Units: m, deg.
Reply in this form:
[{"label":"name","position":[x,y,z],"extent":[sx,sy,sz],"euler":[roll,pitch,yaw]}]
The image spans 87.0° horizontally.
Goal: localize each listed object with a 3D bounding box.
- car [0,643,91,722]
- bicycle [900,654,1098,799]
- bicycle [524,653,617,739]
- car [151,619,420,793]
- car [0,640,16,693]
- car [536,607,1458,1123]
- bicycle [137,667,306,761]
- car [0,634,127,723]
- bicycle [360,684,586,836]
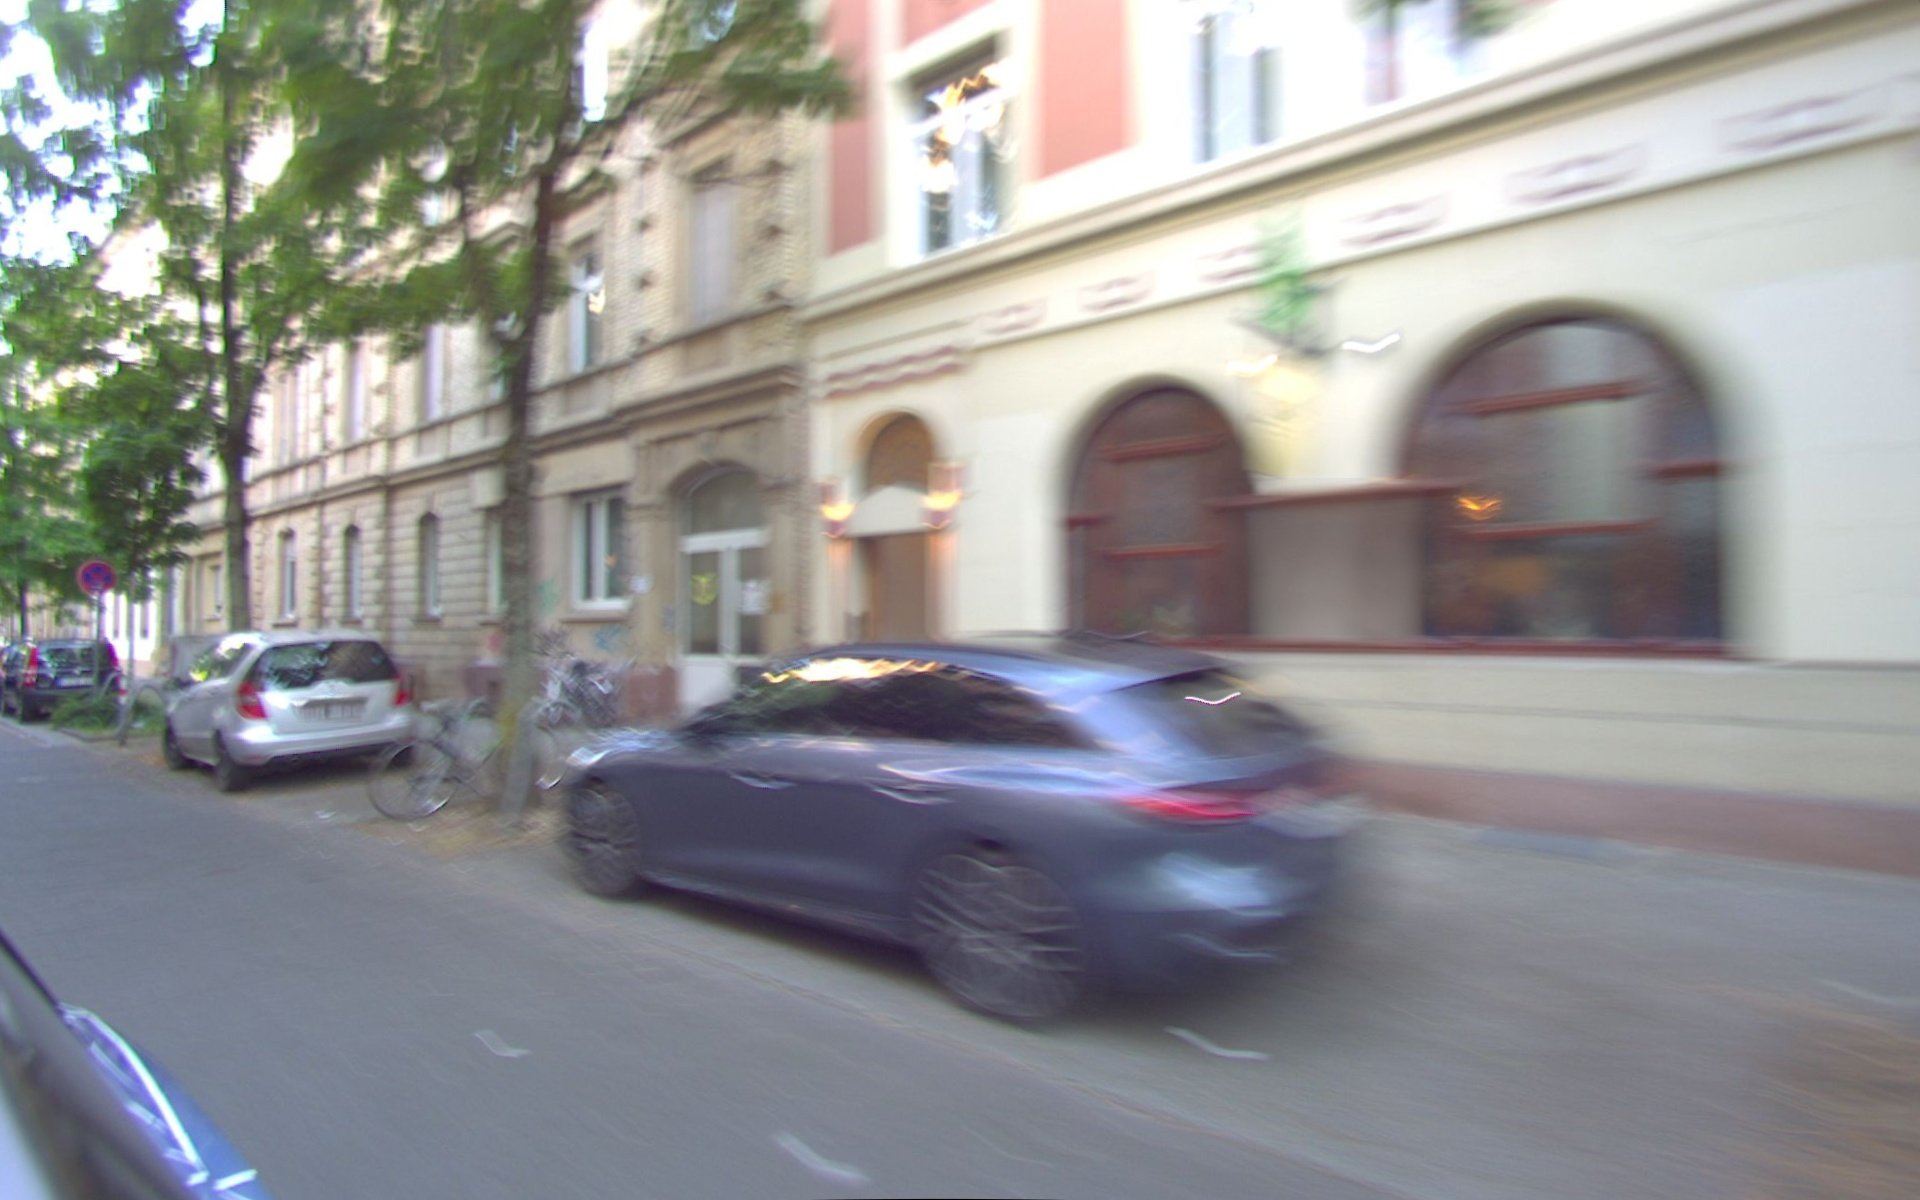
[{"label":"car","position":[-20.483,1.739,22.113],"extent":[3.708,1.513,1.674],"euler":[-1,-1,39]},{"label":"bicycle","position":[0.296,1.041,8.791],"extent":[1.794,1.106,0.521],"euler":[-2,-2,41]},{"label":"bicycle","position":[-5.382,1.296,13.955],"extent":[1.628,1.098,0.457],"euler":[-3,0,42]},{"label":"car","position":[-7.730,1.058,11.461],"extent":[3.860,1.620,1.658],"euler":[-2,-2,42]},{"label":"car","position":[-29.395,1.942,29.824],"extent":[4.254,1.473,1.749],"euler":[-2,-2,39]},{"label":"car","position":[-0.193,0.848,5.248],"extent":[4.682,1.529,1.787],"euler":[-2,-1,40]},{"label":"bicycle","position":[-10.096,1.522,13.923],"extent":[0.592,1.068,1.857],"euler":[-1,0,21]},{"label":"car","position":[-17.484,1.443,19.592],"extent":[3.558,1.513,1.504],"euler":[-1,-1,40]},{"label":"bicycle","position":[-4.069,1.297,8.571],"extent":[0.430,1.011,1.666],"euler":[-2,0,42]}]
